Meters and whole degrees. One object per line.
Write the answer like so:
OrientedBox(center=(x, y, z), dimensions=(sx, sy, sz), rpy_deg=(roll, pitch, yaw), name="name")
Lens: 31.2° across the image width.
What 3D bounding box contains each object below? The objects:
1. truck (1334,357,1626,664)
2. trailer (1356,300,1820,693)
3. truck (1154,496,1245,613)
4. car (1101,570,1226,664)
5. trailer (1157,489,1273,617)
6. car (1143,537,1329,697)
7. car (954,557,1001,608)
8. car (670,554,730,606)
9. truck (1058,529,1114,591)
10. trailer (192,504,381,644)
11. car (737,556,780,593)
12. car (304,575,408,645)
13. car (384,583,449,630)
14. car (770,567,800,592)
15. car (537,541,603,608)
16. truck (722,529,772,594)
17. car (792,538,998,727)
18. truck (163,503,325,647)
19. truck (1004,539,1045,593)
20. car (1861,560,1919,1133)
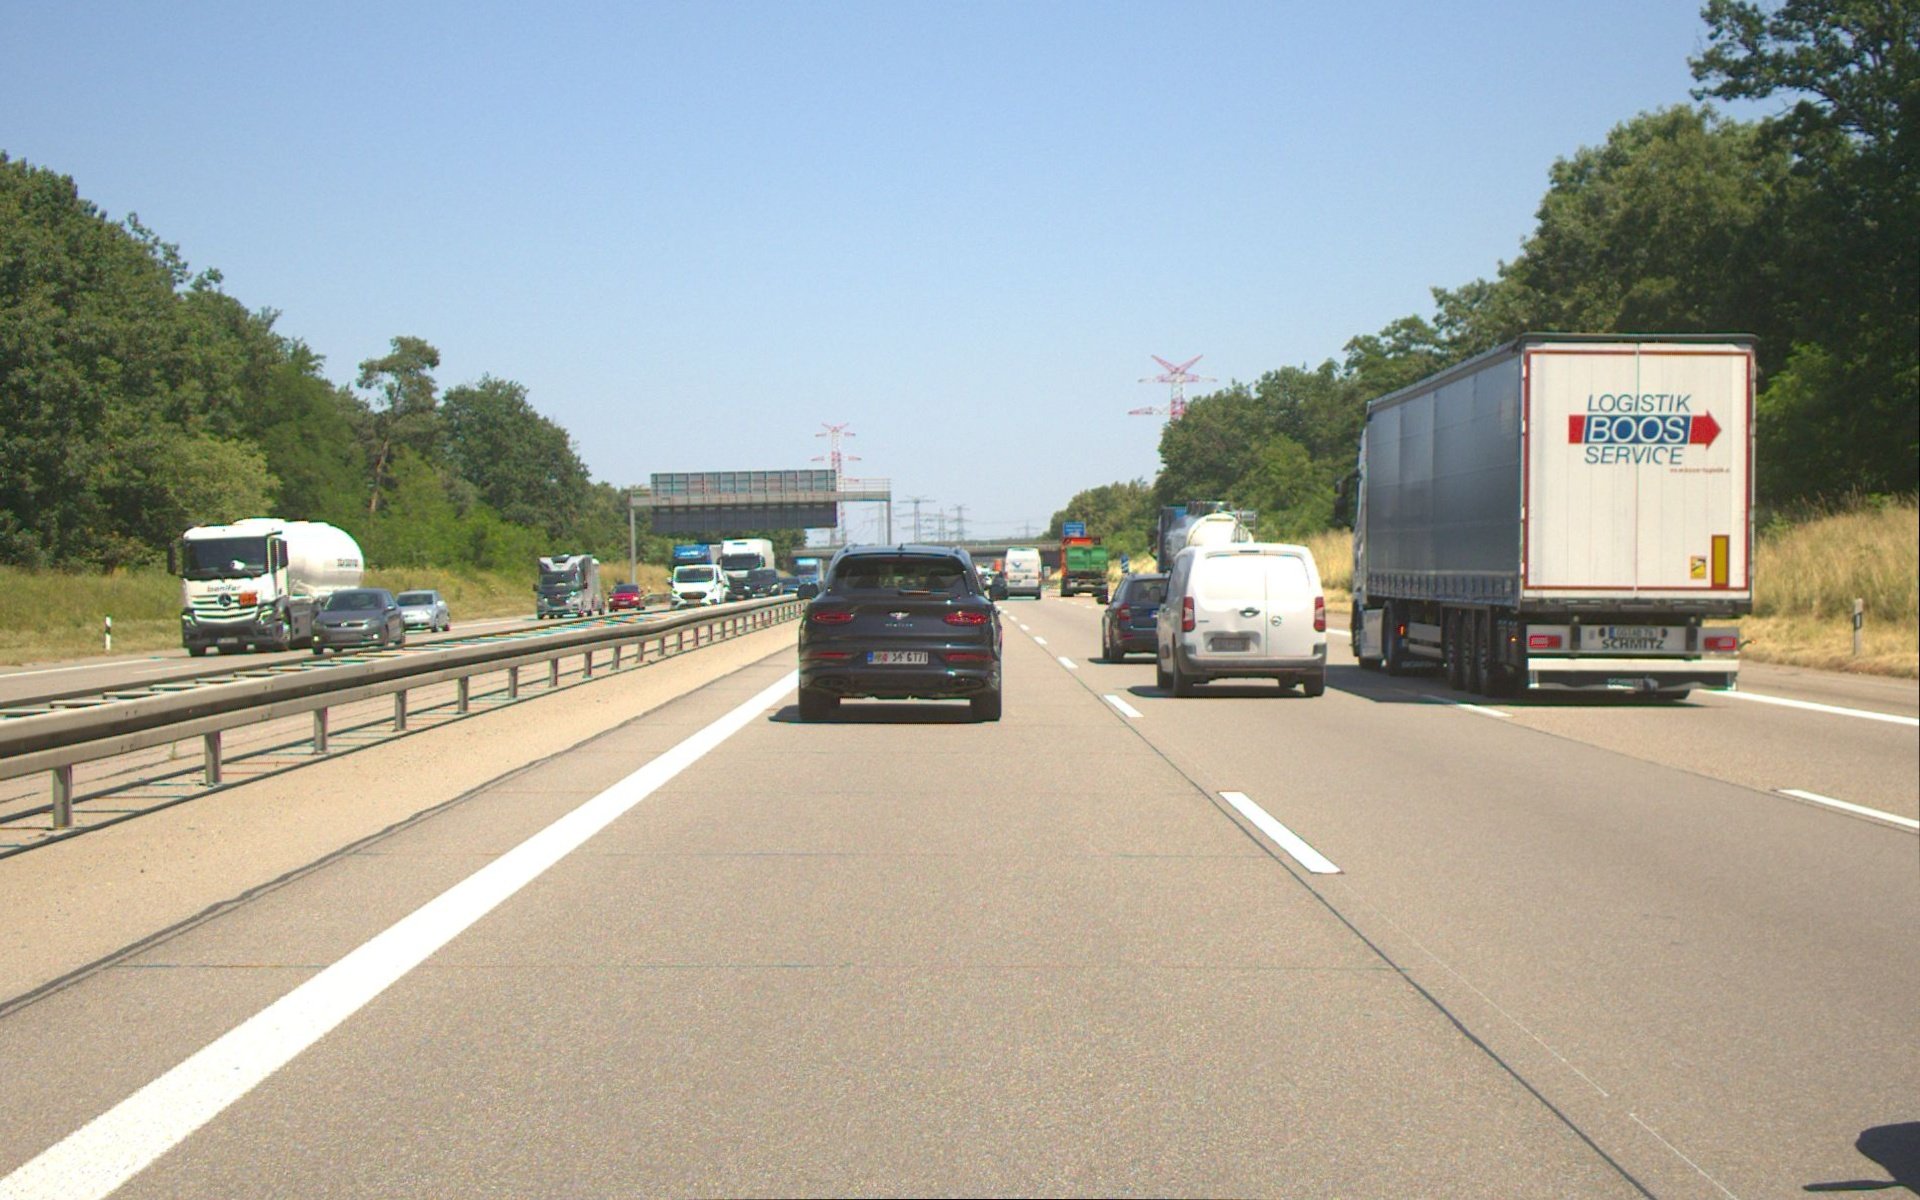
OrientedBox(center=(7.521, -1.264, 50.557), dimensions=(3.286, 4.205, 6.008), rpy_deg=(1, 0, 0), name="truck")
OrientedBox(center=(7.565, -1.169, 43.922), dimensions=(3.286, 4.205, 13.565), rpy_deg=(1, 0, 0), name="trailer")
OrientedBox(center=(8.028, -1.520, 115.760), dimensions=(2.682, 3.824, 4.444), rpy_deg=(1, 0, 0), name="truck")
OrientedBox(center=(3.289, 0.248, 56.273), dimensions=(1.774, 1.467, 3.873), rpy_deg=(-1, 0, 0), name="car")
OrientedBox(center=(8.073, -1.469, 110.073), dimensions=(2.682, 3.824, 12.011), rpy_deg=(1, 0, 0), name="trailer")
OrientedBox(center=(3.311, 0.172, 42.092), dimensions=(1.814, 1.821, 5.111), rpy_deg=(-1, 0, 0), name="car")
OrientedBox(center=(0.598, -0.635, 121.515), dimensions=(1.626, 1.749, 3.805), rpy_deg=(0, 1, 0), name="car")
OrientedBox(center=(-10.409, -0.809, 137.935), dimensions=(1.995, 1.940, 5.743), rpy_deg=(-3, 1, -1), name="car")
OrientedBox(center=(7.832, -2.461, 214.491), dimensions=(2.989, 3.716, 10.090), rpy_deg=(1, 0, 0), name="truck")
OrientedBox(center=(-18.057, -0.726, 92.945), dimensions=(2.682, 3.422, 11.800), rpy_deg=(-3, 1, 0), name="trailer")
OrientedBox(center=(-10.662, -1.381, 182.054), dimensions=(1.876, 1.841, 5.834), rpy_deg=(-3, 1, 0), name="car")
OrientedBox(center=(-13.779, 0.198, 78.630), dimensions=(1.633, 1.468, 3.937), rpy_deg=(-3, 1, 0), name="car")
OrientedBox(center=(-18.455, 0.207, 116.763), dimensions=(1.569, 1.460, 4.036), rpy_deg=(-3, 1, -1), name="car")
OrientedBox(center=(-10.881, -1.299, 214.370), dimensions=(1.617, 1.477, 4.625), rpy_deg=(-3, 1, -1), name="car")
OrientedBox(center=(-17.520, -1.148, 154.752), dimensions=(2.213, 2.848, 6.454), rpy_deg=(-3, 1, -1), name="car")
OrientedBox(center=(-13.518, -2.456, 218.206), dimensions=(2.668, 3.976, 6.341), rpy_deg=(-3, 1, -1), name="truck")
OrientedBox(center=(-0.655, 0.255, 35.414), dimensions=(1.940, 1.746, 5.814), rpy_deg=(0, 1, -1), name="car")
OrientedBox(center=(-18.067, -0.650, 87.084), dimensions=(2.682, 3.422, 6.145), rpy_deg=(-3, 1, 0), name="truck")
OrientedBox(center=(3.529, -1.858, 188.824), dimensions=(2.060, 2.904, 7.003), rpy_deg=(-1, 0, 0), name="truck")
OrientedBox(center=(3.360, 0.667, 7.519), dimensions=(1.708, 1.490, 4.024), rpy_deg=(0, 1, 0), name="car")
